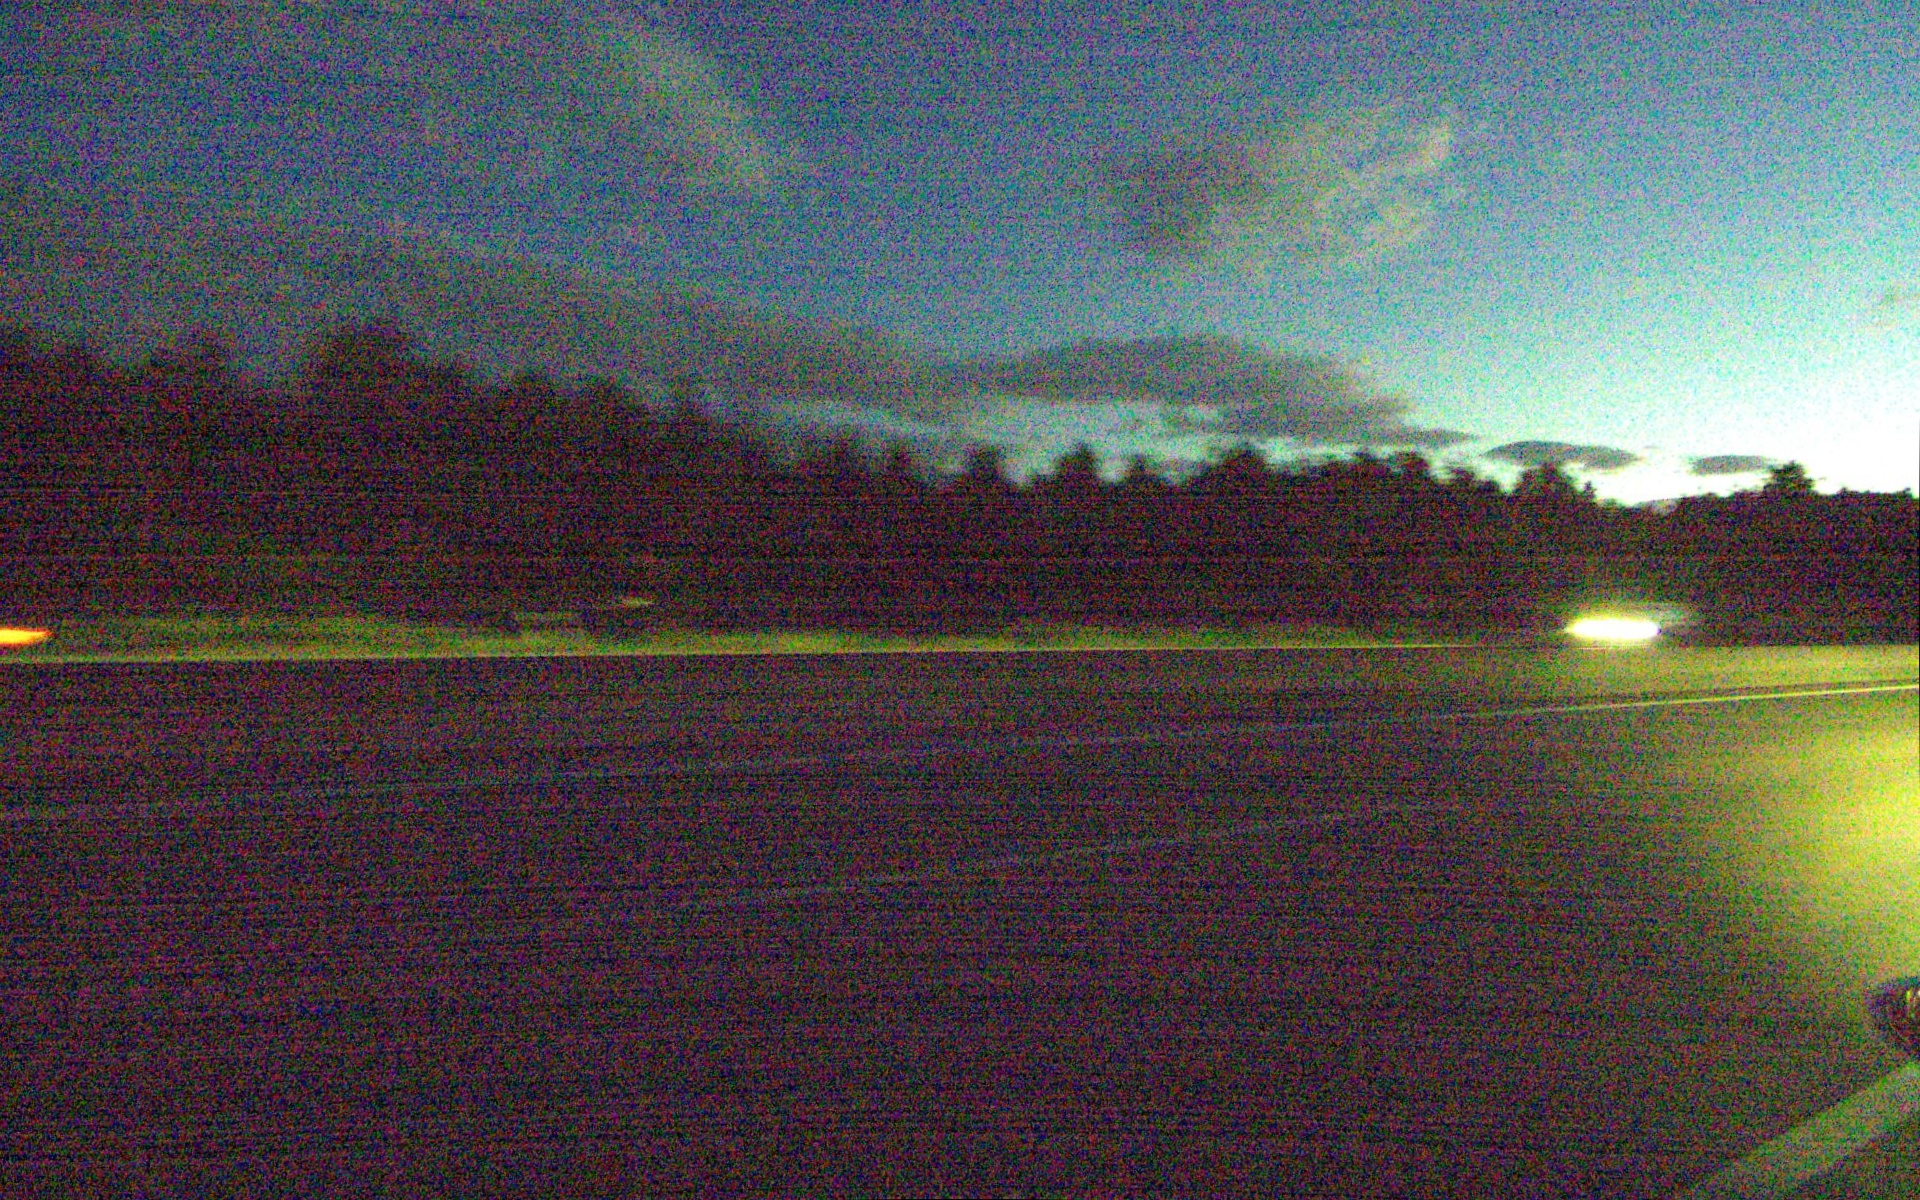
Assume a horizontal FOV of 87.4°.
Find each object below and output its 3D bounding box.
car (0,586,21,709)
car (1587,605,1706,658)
[{"bbox_3d":[-14.337,0.578,12.001,4.164,1.623,1.983,2,0,-31],"label":"car"},{"bbox_3d":[28.797,1.329,42.115,5.124,2.040,2.017,2,0,-29],"label":"car"}]
